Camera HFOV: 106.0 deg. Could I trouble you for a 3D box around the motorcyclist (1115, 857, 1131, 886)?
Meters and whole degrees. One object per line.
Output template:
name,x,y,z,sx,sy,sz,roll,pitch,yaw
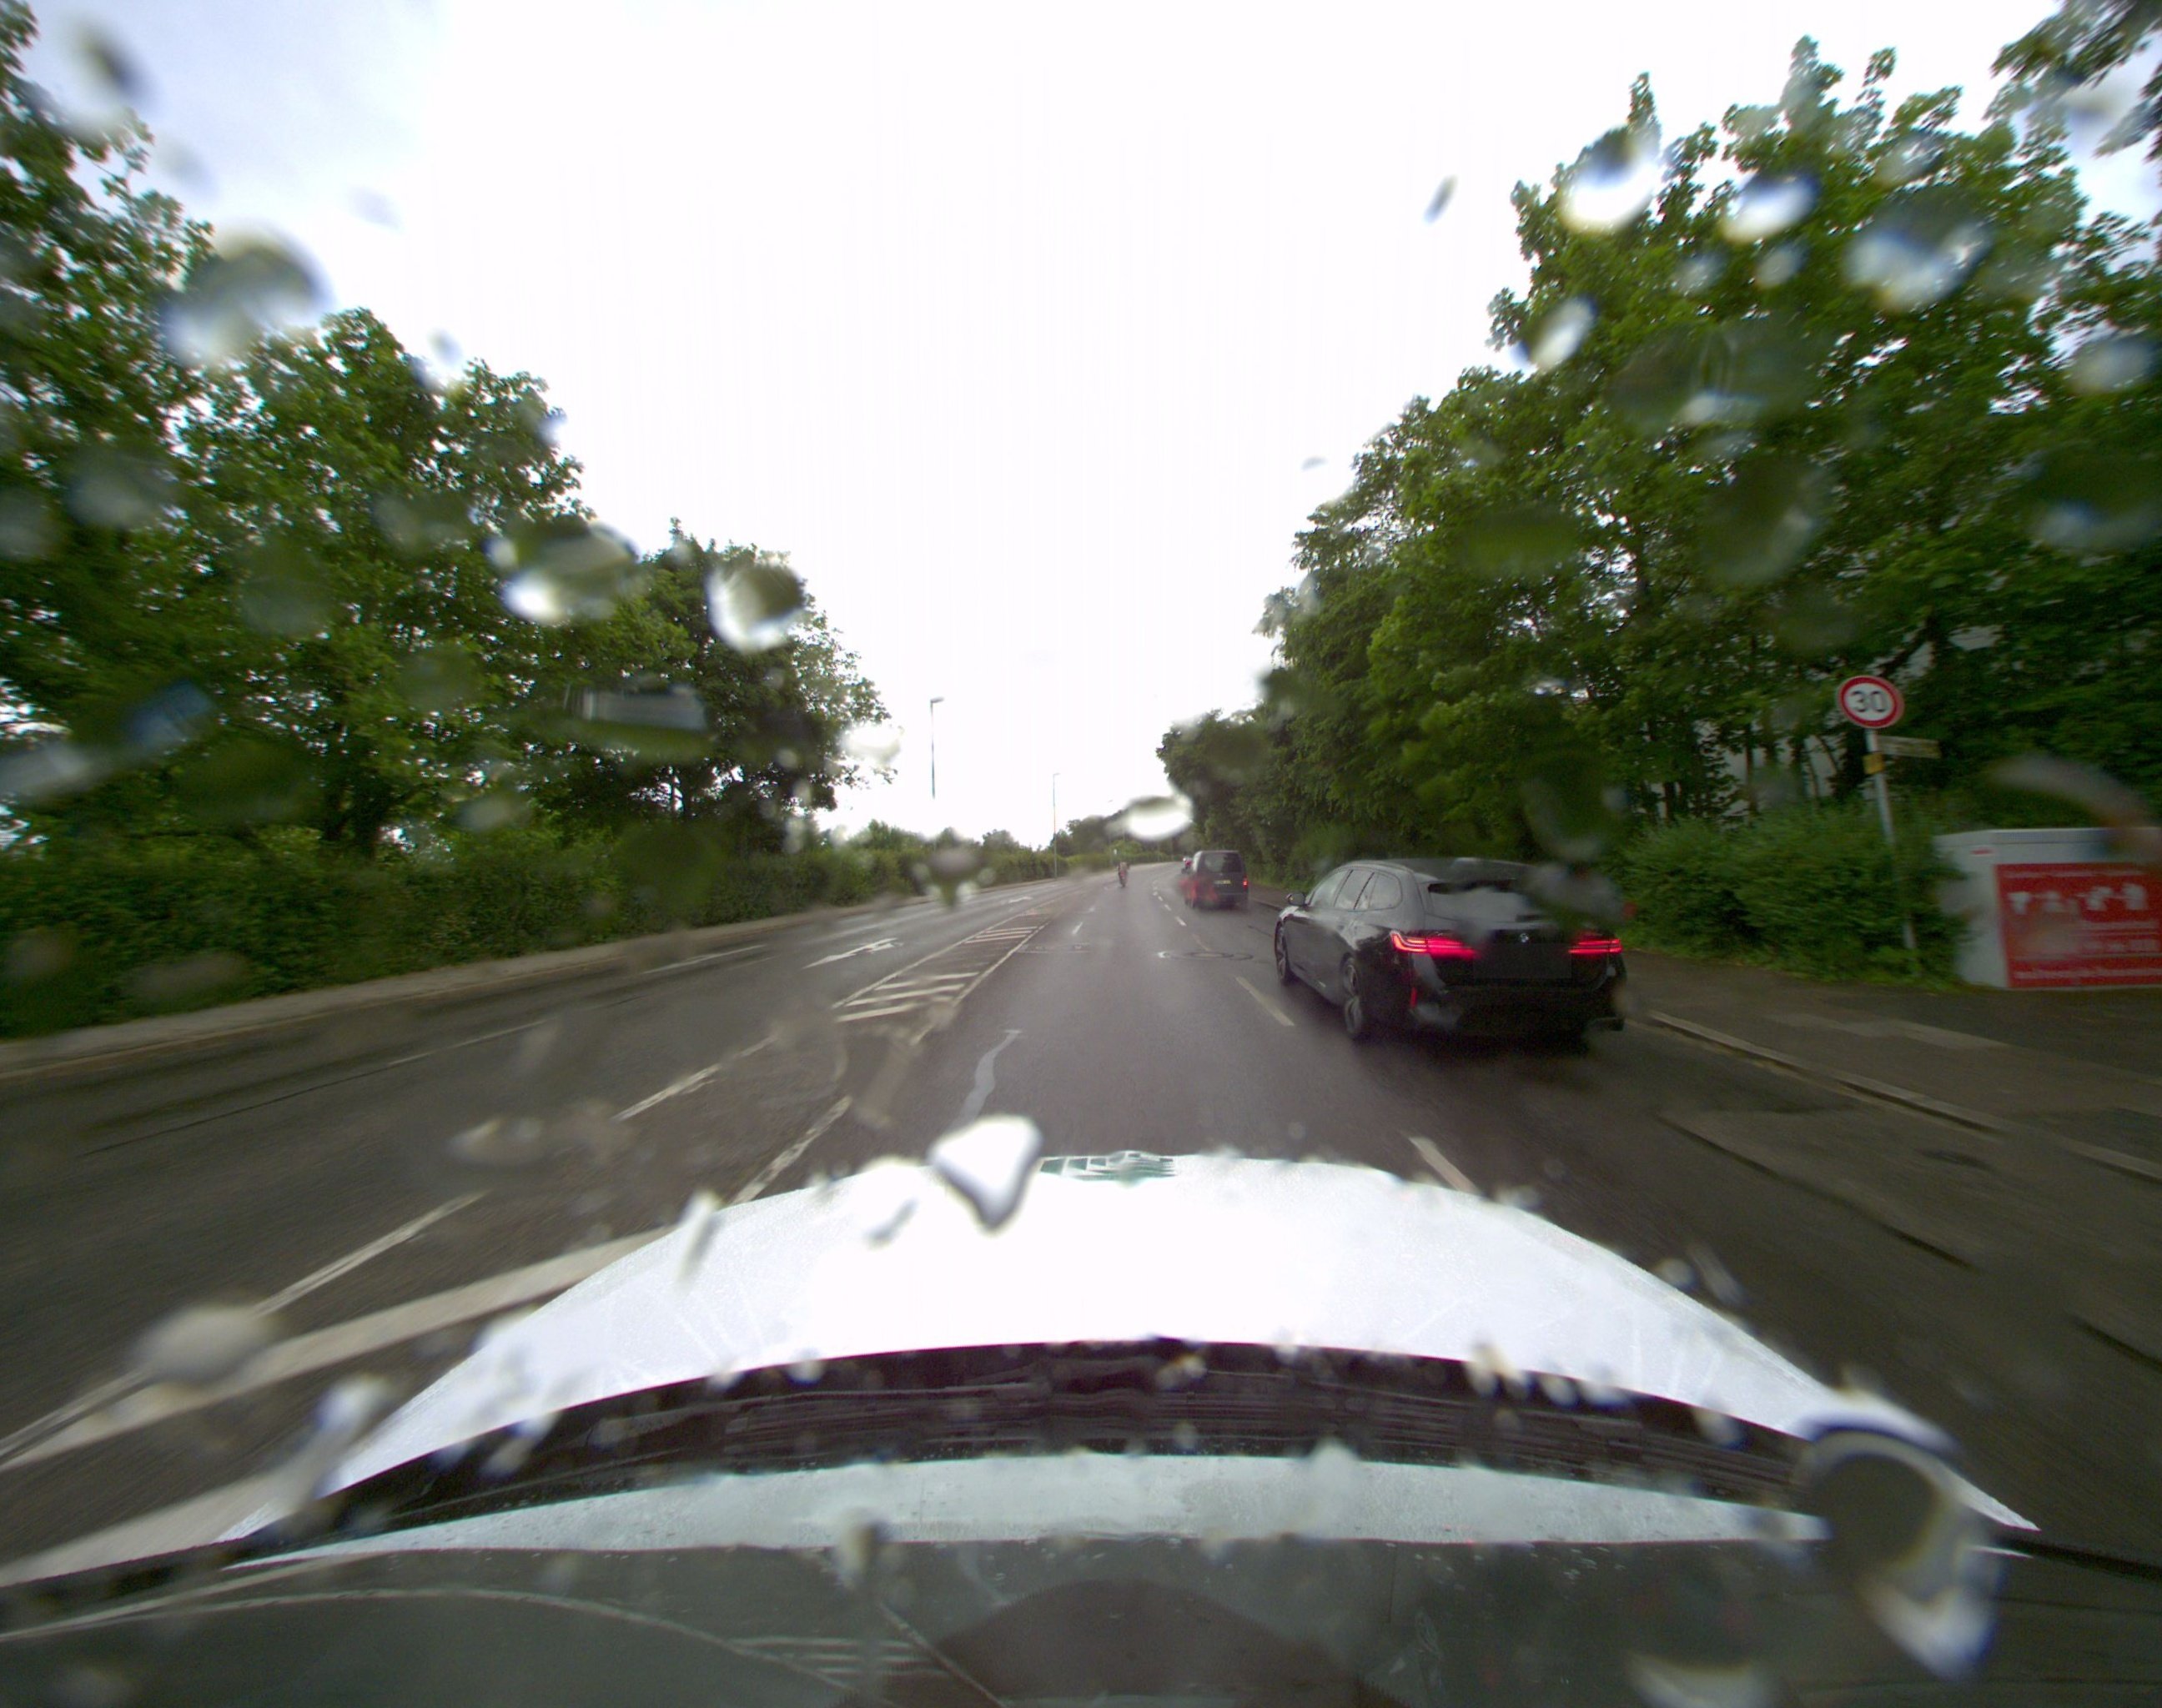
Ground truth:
motorcyclist,2.472,1.035,47.770,0.841,1.647,0.468,-2,1,5

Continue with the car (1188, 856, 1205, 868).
car,15.432,1.090,108.805,2.002,1.415,4.500,-1,1,11

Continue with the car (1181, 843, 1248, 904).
car,4.300,0.568,26.661,1.759,1.810,3.909,-1,1,4

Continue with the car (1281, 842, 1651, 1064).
car,3.111,0.704,7.477,1.758,1.536,3.674,0,-1,2

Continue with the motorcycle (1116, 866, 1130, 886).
motorcycle,2.472,1.304,47.830,0.737,1.119,1.429,-1,1,6
